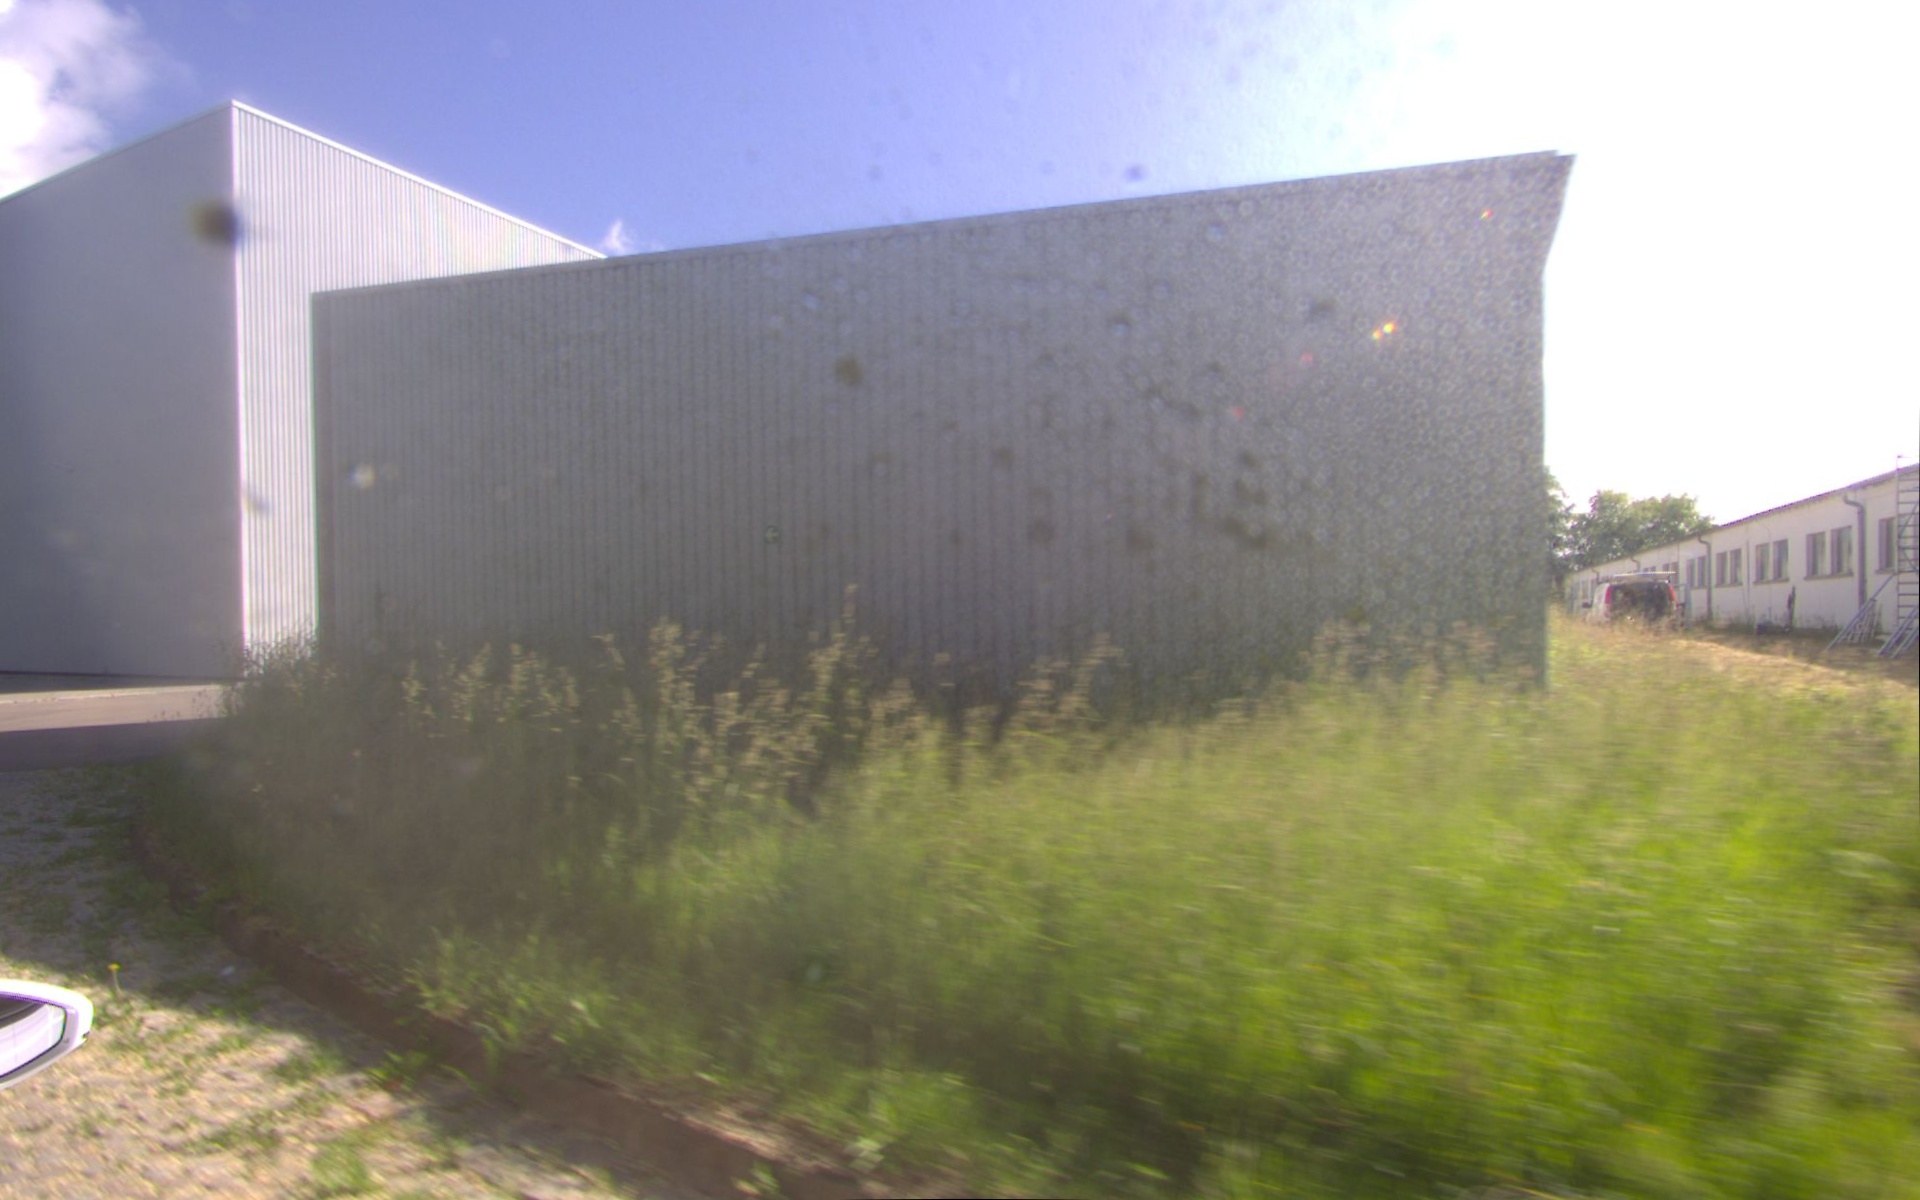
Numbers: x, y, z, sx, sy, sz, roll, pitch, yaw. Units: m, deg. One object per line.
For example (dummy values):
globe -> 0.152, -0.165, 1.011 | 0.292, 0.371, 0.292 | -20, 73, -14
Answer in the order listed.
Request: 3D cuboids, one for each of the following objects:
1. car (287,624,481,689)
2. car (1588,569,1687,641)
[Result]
car -> -14.121, 1.331, 24.770 | 1.646, 1.368, 3.941 | 1, 0, 25
car -> 20.769, 0.177, 30.855 | 1.968, 2.040, 3.986 | -1, -1, 26
